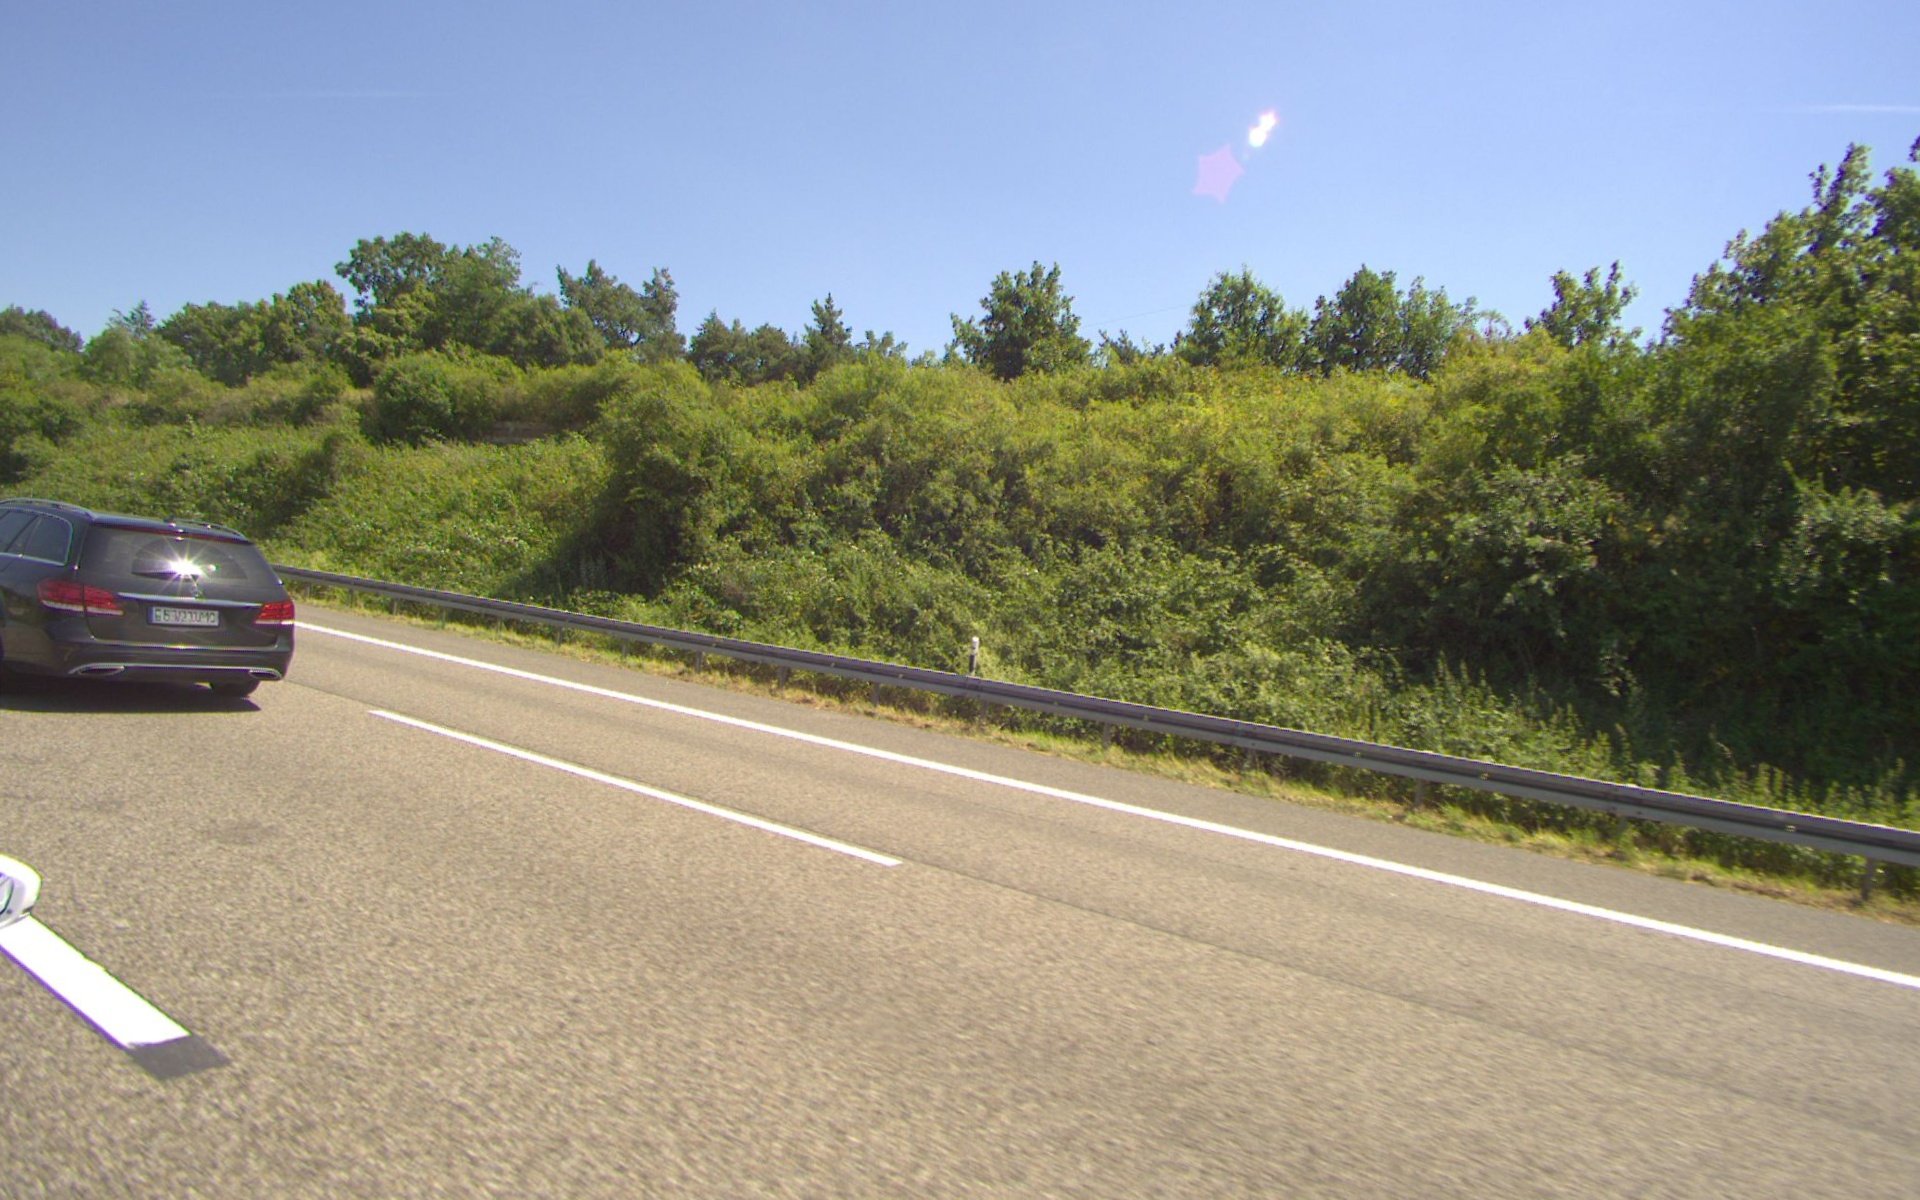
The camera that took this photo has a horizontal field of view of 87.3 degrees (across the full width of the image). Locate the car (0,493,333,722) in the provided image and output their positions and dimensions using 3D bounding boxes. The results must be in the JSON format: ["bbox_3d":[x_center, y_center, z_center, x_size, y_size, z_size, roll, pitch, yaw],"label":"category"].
[{"bbox_3d":[-7.850,-0.087,8.937,4.658,1.524,1.844,7,0,31],"label":"car"}]
